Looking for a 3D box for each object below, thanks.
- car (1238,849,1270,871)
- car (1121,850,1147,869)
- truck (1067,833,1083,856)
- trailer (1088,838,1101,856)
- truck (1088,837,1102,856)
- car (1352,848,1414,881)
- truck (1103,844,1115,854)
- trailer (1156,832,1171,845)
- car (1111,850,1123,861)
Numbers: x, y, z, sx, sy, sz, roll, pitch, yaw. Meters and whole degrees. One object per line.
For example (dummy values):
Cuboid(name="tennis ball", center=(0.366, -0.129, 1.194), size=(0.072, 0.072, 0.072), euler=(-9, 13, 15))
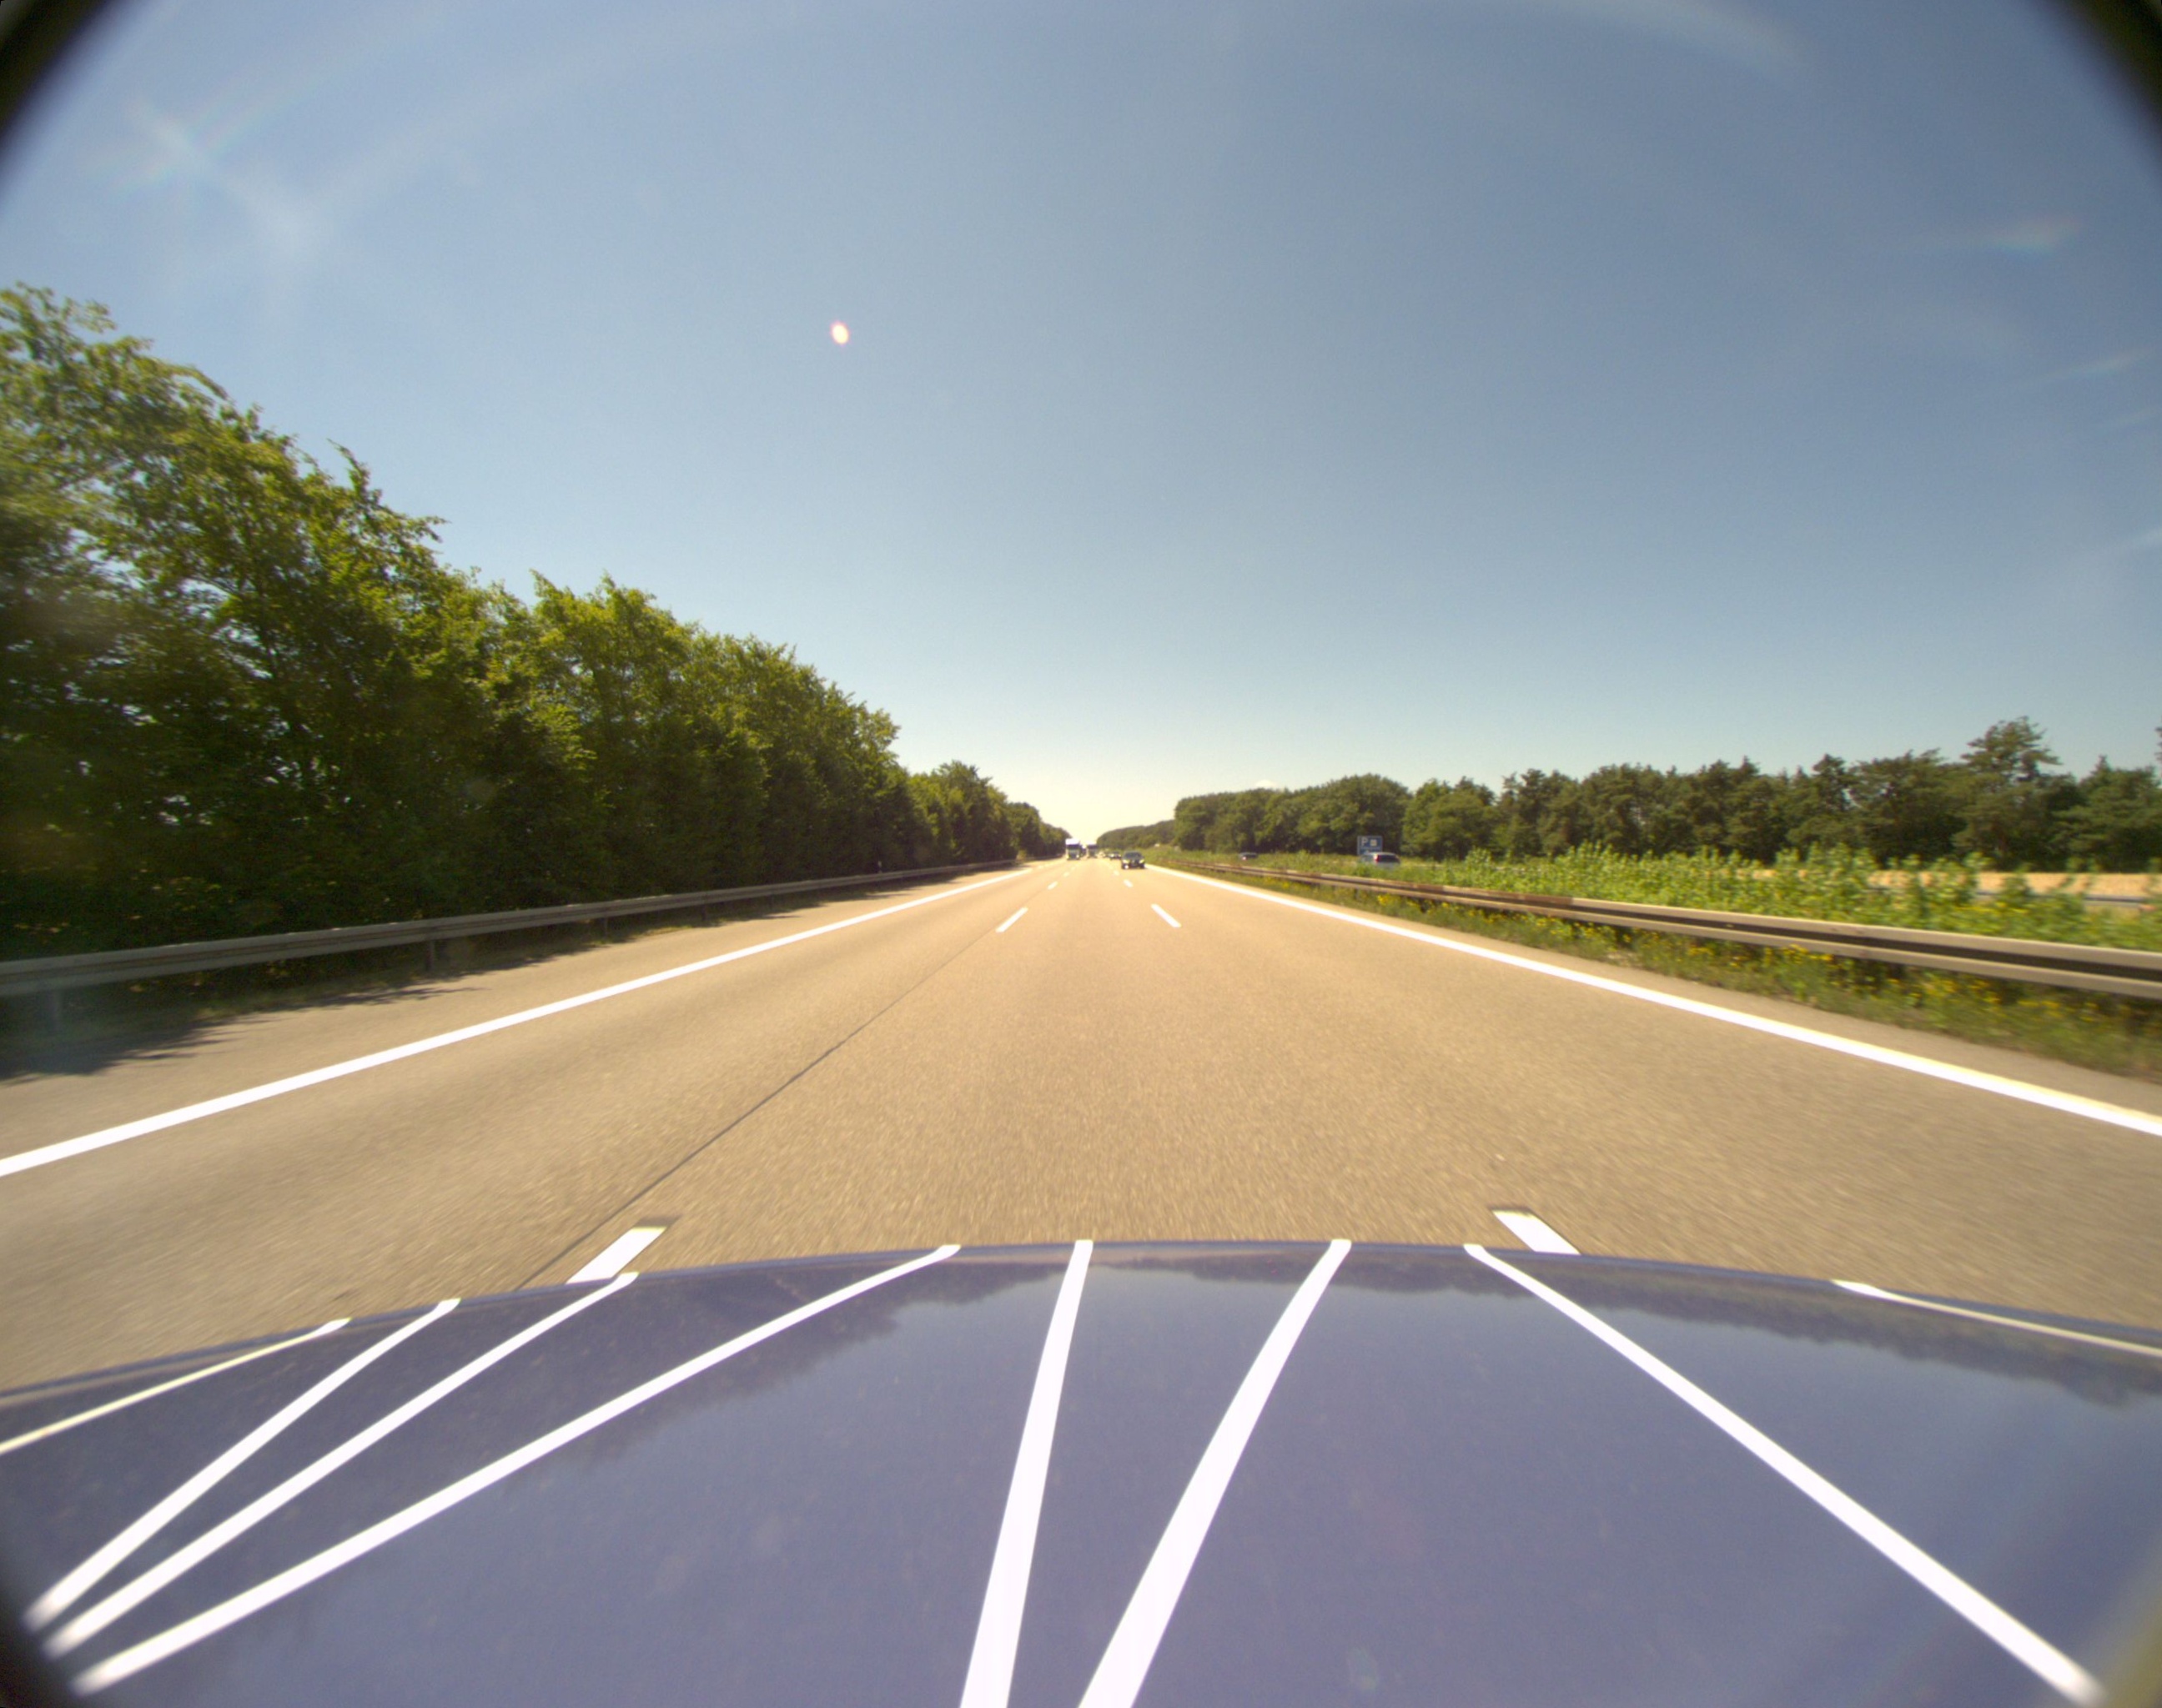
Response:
Cuboid(name="car", center=(14.281, 0.436, 62.897), size=(1.879, 1.768, 4.000), euler=(0, 1, 1))
Cuboid(name="car", center=(4.378, 0.467, 63.364), size=(1.811, 1.399, 4.000), euler=(-3, -1, 0))
Cuboid(name="truck", center=(-1.240, -1.844, 147.792), size=(2.863, 4.247, 6.863), euler=(-2, 1, -1))
Cuboid(name="trailer", center=(3.299, -1.745, 185.569), size=(2.863, 4.247, 11.470), euler=(-2, 1, 0))
Cuboid(name="truck", center=(3.280, -1.690, 179.066), size=(2.863, 4.247, 5.410), euler=(-2, 1, 0))
Cuboid(name="car", center=(17.274, 0.540, 43.653), size=(1.852, 1.768, 4.430), euler=(0, 1, 1))
Cuboid(name="truck", center=(6.651, -1.205, 180.949), size=(2.576, 2.461, 5.614), euler=(-2, 1, 0))
Cuboid(name="trailer", center=(24.813, -4.707, 228.773), size=(3.187, 3.677, 14.381), euler=(-2, 1, 1))
Cuboid(name="car", center=(6.089, 0.227, 128.262), size=(1.806, 1.774, 3.999), euler=(-1, 1, 1))
